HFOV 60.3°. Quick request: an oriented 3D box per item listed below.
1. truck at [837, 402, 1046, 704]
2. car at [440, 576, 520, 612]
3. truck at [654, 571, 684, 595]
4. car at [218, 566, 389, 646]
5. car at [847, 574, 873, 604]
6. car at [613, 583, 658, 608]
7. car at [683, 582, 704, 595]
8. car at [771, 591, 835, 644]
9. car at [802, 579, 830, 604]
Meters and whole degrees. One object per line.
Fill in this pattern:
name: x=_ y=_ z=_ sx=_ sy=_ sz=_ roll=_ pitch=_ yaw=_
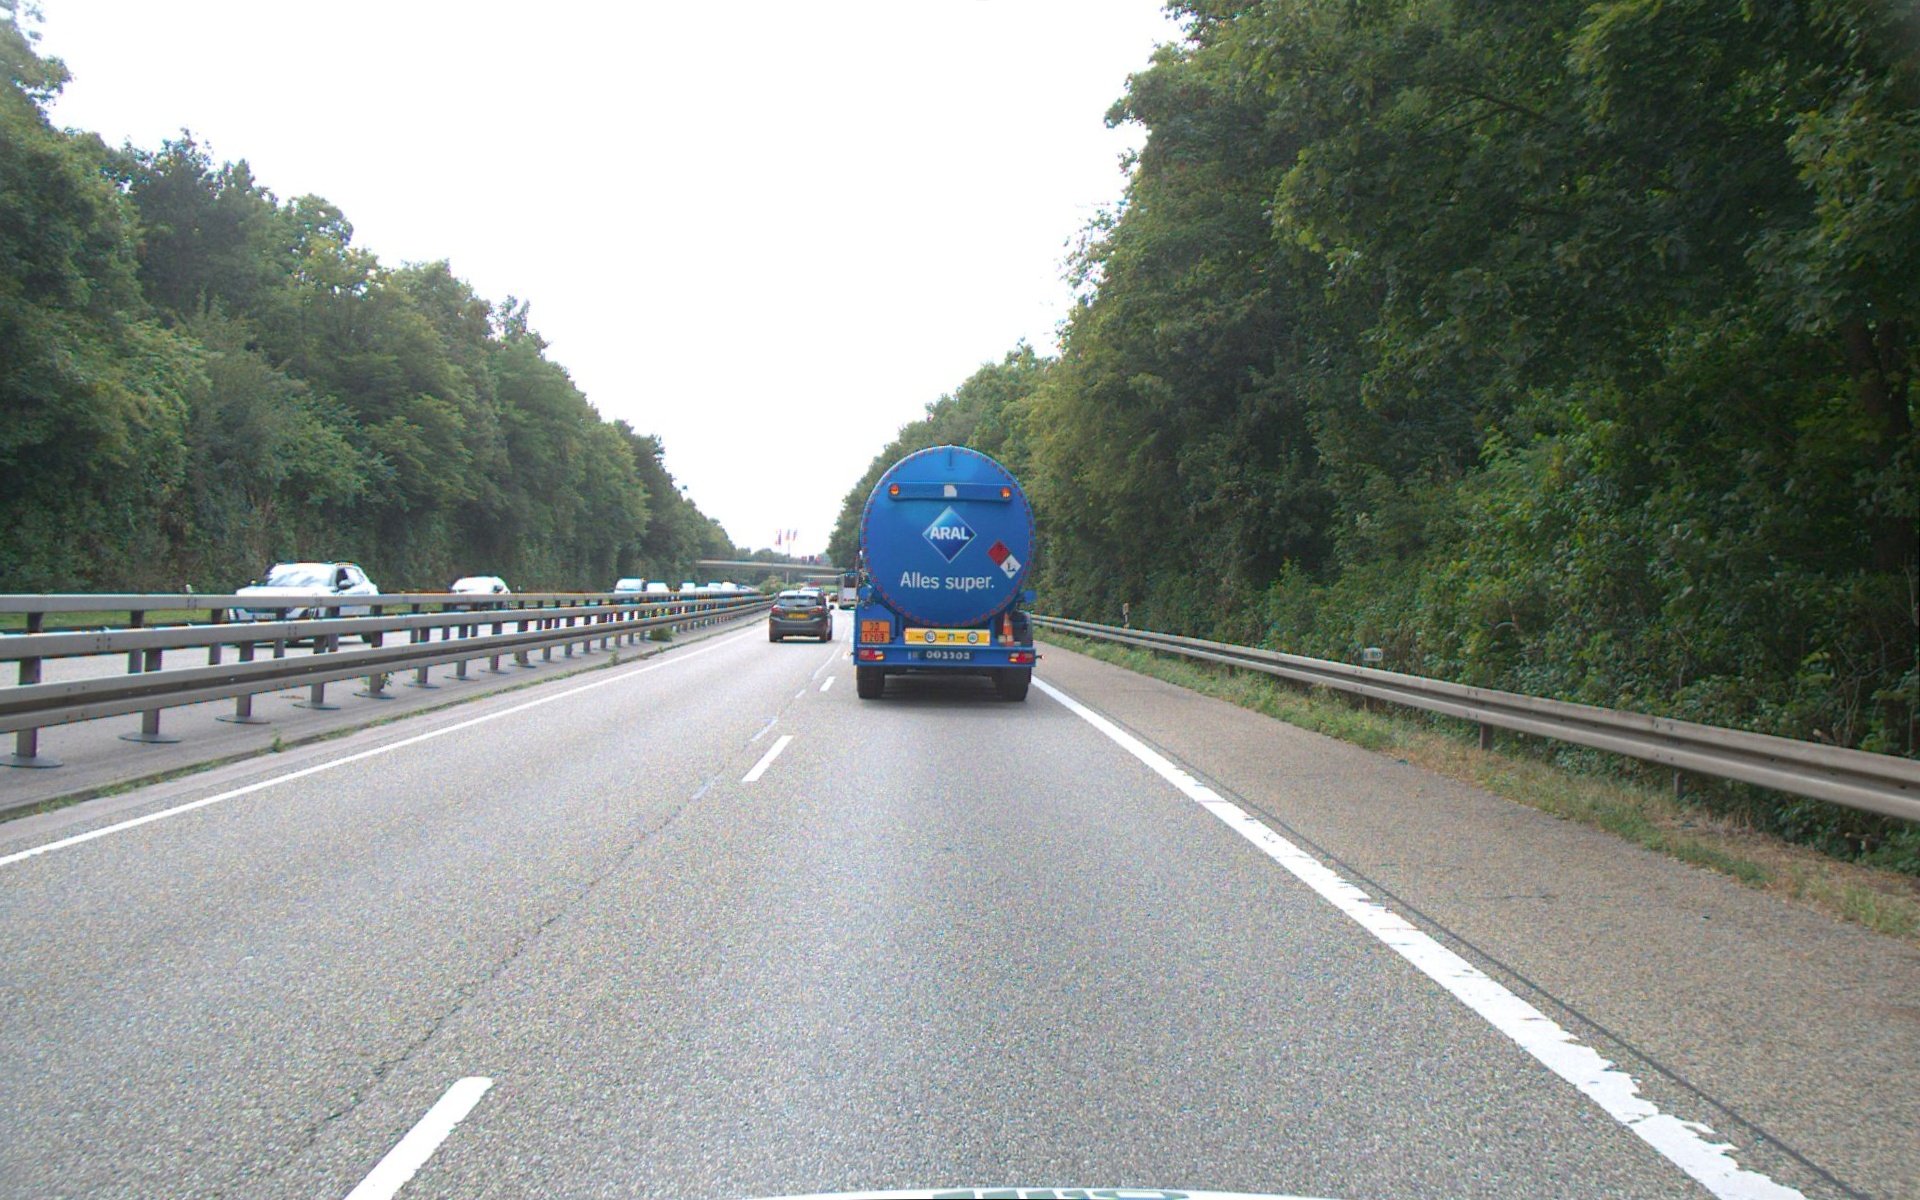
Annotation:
truck: x=-0.246 y=-0.651 z=25.350 sx=2.699 sy=3.914 sz=7.688 roll=0 pitch=0 yaw=0
car: x=-17.139 y=-0.212 z=59.234 sx=1.706 sy=1.210 sz=4.289 roll=0 pitch=0 yaw=-1
truck: x=-22.406 y=-1.302 z=127.457 sx=1.954 sy=1.769 sz=3.996 roll=0 pitch=0 yaw=-5
car: x=-12.344 y=0.102 z=31.393 sx=1.610 sy=1.413 sz=4.289 roll=0 pitch=0 yaw=-1
car: x=-7.747 y=-0.861 z=128.218 sx=1.954 sy=2.284 sz=3.997 roll=0 pitch=0 yaw=-4
car: x=-16.190 y=-0.235 z=82.718 sx=1.708 sy=1.210 sz=4.287 roll=0 pitch=0 yaw=-4
car: x=-27.167 y=-1.165 z=168.695 sx=1.707 sy=1.210 sz=4.288 roll=0 pitch=0 yaw=-3
car: x=-4.626 y=0.496 z=49.159 sx=1.790 sy=1.483 sz=4.635 roll=0 pitch=0 yaw=-4
car: x=-9.549 y=-0.550 z=109.391 sx=1.791 sy=1.637 sz=4.162 roll=0 pitch=0 yaw=-6
